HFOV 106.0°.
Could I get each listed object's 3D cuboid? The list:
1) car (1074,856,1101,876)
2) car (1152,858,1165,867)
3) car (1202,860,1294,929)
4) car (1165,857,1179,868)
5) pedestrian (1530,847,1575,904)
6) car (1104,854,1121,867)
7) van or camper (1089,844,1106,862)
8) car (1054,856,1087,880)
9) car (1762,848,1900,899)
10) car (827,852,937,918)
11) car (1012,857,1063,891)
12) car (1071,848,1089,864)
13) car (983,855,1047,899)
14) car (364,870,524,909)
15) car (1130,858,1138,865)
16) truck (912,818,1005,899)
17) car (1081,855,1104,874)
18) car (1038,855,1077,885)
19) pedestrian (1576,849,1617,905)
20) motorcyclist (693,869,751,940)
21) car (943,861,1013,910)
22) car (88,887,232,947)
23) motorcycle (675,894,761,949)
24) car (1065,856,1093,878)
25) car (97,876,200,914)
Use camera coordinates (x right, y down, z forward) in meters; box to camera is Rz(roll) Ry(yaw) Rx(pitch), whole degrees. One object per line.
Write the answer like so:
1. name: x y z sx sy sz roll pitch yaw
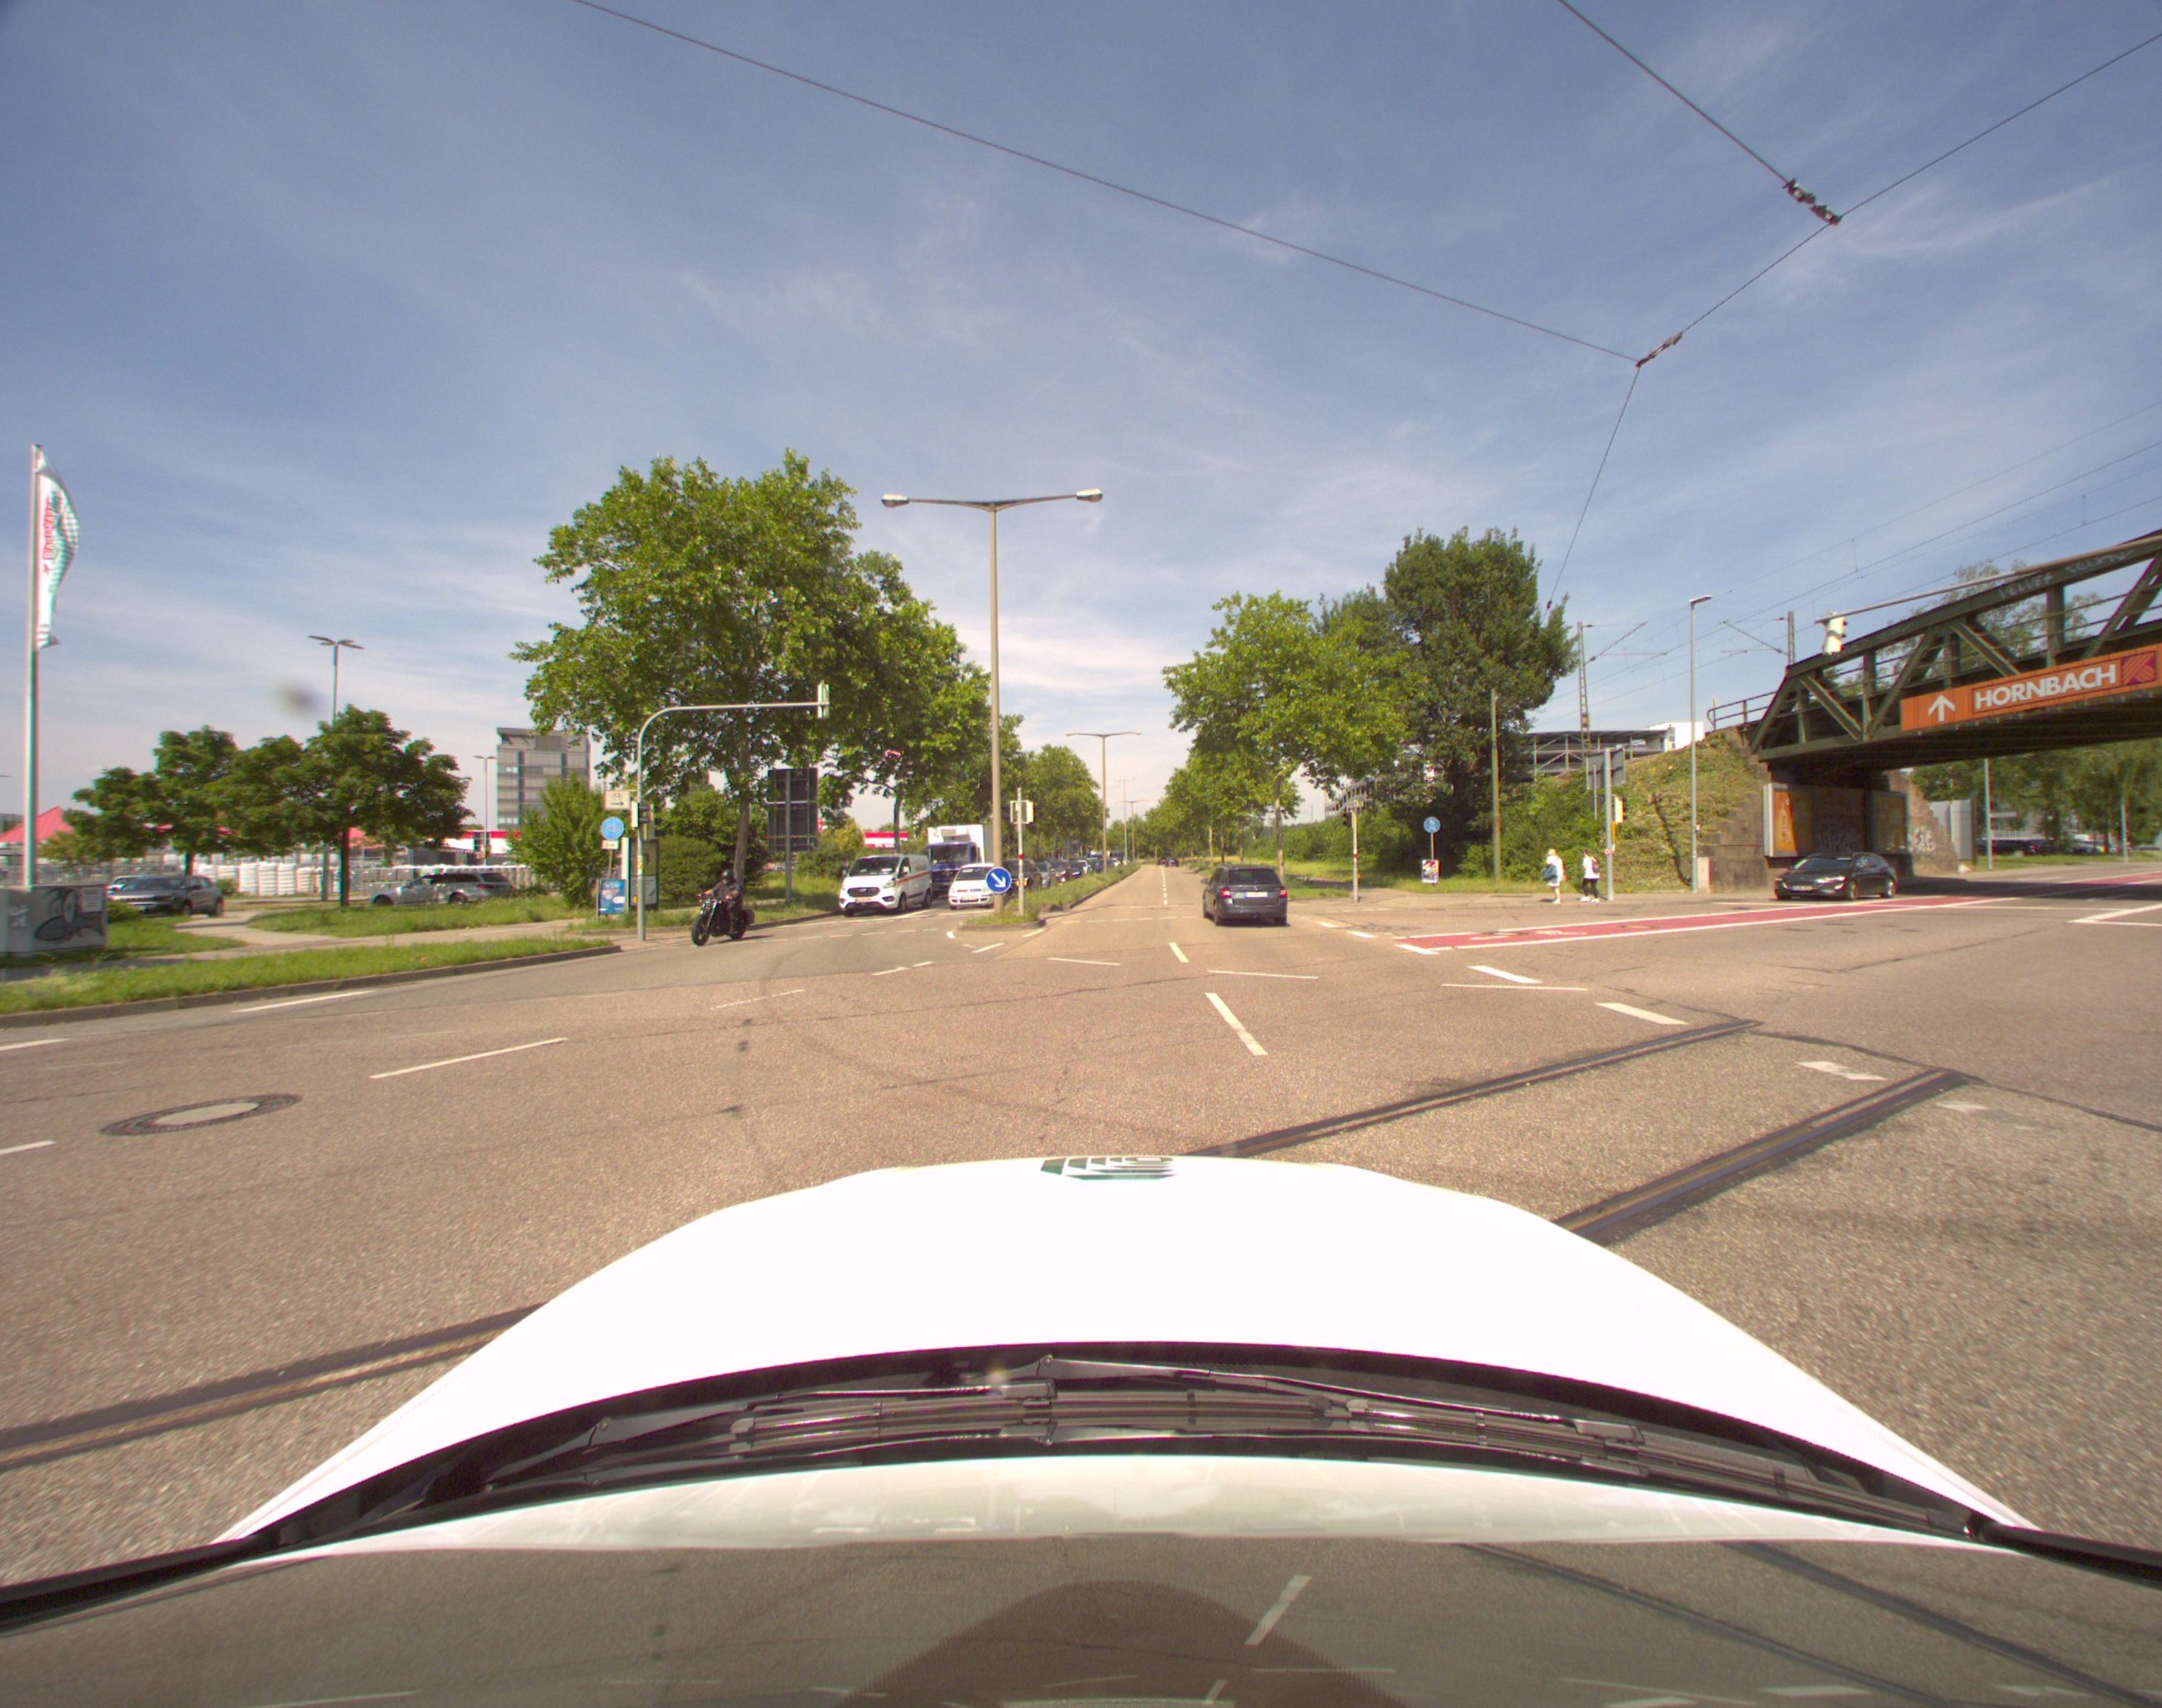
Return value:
1. car: 0.549 0.949 67.951 1.749 1.530 4.835 -2 0 6
2. car: 13.728 1.557 144.253 1.900 1.463 4.585 -1 1 2
3. car: 4.006 0.912 20.142 1.667 1.453 4.040 0 0 3
4. car: 12.663 1.150 113.427 1.898 1.463 4.629 -1 1 6
5. pedestrian: 13.776 0.614 23.806 0.863 1.611 0.778 -1 0 5
6. car: 3.933 0.811 100.615 1.775 1.459 4.479 -2 0 6
7. van or camper: 2.536 -0.171 121.921 2.005 2.587 5.526 -2 0 6
8. car: -0.685 0.915 54.905 1.680 1.473 4.225 -3 0 6
9. car: 23.362 0.552 25.346 4.516 1.409 1.980 -1 0 -31
10. car: -6.574 0.949 27.571 1.966 1.999 5.041 -1 0 6
11. car: -2.123 0.964 40.873 1.788 1.468 4.530 -2 0 6
12. car: -0.094 0.231 94.446 1.680 1.858 4.042 -2 0 6
13. car: -2.687 0.925 34.190 1.811 1.646 4.701 -2 -1 6
14. car: -25.209 1.383 32.388 4.550 1.414 2.199 -1 0 -2
15. car: 11.956 1.776 183.889 1.900 1.463 4.585 -1 1 2
16. truck: -5.759 0.162 39.530 2.790 3.471 6.702 -3 0 5
17. car: 1.053 0.921 73.143 1.776 1.489 4.216 -2 0 4
18. car: -1.345 0.907 47.667 1.680 1.586 4.247 -2 0 6
19. pedestrian: 15.055 0.660 23.820 0.726 1.579 0.778 -1 0 5
20. motorcyclist: -7.838 1.080 17.827 0.739 1.470 0.989 -1 0 5
21. car: -3.512 1.041 28.362 1.585 1.477 3.735 -2 0 5
22. car: -29.537 1.934 26.313 2.211 1.572 4.525 -1 0 -37
23. motorcycle: -7.837 1.425 17.699 0.684 0.991 2.221 -1 0 6
24. car: -0.115 0.935 60.481 1.680 1.472 3.820 -2 0 5
25. car: -42.978 1.837 37.661 1.827 1.572 4.238 -1 0 -30
